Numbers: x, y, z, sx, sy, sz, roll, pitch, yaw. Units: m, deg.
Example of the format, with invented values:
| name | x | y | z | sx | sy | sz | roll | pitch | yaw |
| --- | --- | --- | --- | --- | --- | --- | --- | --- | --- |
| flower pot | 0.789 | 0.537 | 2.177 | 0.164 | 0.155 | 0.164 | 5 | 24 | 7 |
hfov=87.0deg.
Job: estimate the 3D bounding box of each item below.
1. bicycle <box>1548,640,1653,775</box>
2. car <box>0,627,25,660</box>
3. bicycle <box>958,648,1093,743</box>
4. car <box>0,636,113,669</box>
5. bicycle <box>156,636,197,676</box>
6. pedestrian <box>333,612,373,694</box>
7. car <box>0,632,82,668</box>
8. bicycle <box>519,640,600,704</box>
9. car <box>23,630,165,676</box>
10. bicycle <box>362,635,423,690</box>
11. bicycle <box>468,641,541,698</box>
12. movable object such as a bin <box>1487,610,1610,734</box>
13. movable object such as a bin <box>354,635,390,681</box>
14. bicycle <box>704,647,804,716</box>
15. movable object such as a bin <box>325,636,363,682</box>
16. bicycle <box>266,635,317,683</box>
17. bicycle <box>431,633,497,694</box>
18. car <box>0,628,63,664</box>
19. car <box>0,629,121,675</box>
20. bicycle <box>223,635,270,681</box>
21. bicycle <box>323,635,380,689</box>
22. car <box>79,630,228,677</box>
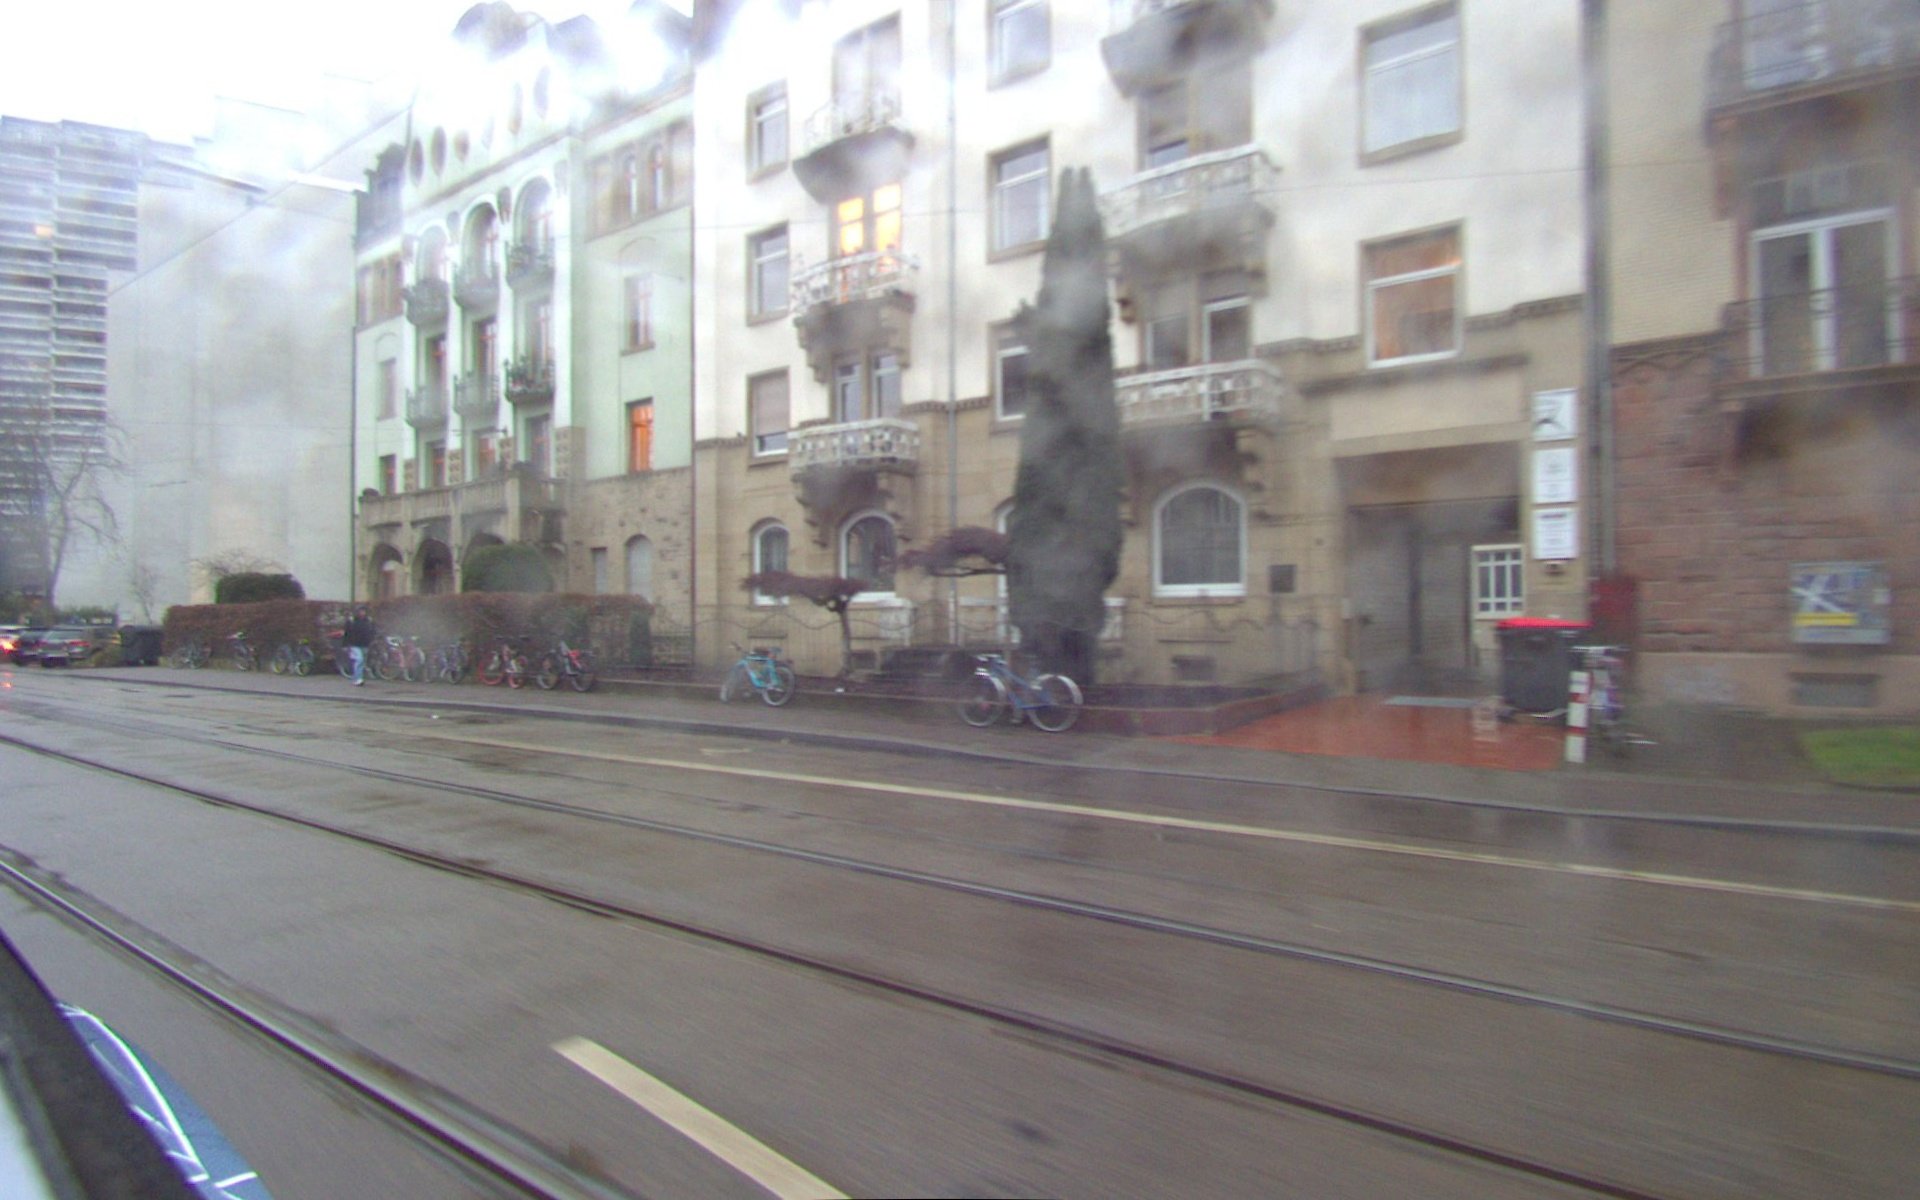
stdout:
| name | x | y | z | sx | sy | sz | roll | pitch | yaw |
| --- | --- | --- | --- | --- | --- | --- | --- | --- | --- |
| bicycle | 6.664 | 1.041 | 10.475 | 0.694 | 1.114 | 2.327 | -1 | 0 | 37 |
| car | -47.374 | 2.093 | 48.321 | 1.842 | 1.608 | 4.000 | -1 | -1 | -1 |
| bicycle | 0.807 | 1.172 | 12.785 | 1.660 | 1.101 | 0.617 | -2 | -2 | 39 |
| car | -36.254 | 2.062 | 40.511 | 1.687 | 1.262 | 3.667 | 0 | -2 | -2 |
| bicycle | -23.840 | 1.693 | 30.775 | 1.660 | 1.173 | 0.617 | -2 | -1 | 39 |
| pedestrian | -13.141 | 1.127 | 21.911 | 0.644 | 1.738 | 0.567 | 0 | 0 | 40 |
| car | -41.509 | 2.197 | 44.819 | 1.842 | 1.460 | 4.000 | -1 | -1 | -1 |
| bicycle | -7.509 | 1.317 | 18.941 | 1.781 | 1.134 | 0.617 | -2 | -2 | 39 |
| car | -31.102 | 1.864 | 36.514 | 1.739 | 1.497 | 4.000 | -1 | -1 | -1 |
| bicycle | -12.790 | 1.389 | 22.778 | 1.660 | 1.173 | 0.617 | -2 | -2 | 39 |
| bicycle | -9.113 | 1.375 | 20.233 | 1.724 | 1.073 | 0.617 | -2 | -2 | 39 |
| movable object such as a bin | 7.308 | 0.851 | 12.559 | 1.166 | 1.390 | 1.092 | -1 | 1 | 38 |
| movable object such as a bin | -15.460 | 1.510 | 26.613 | 0.674 | 1.173 | 0.617 | -2 | -2 | 39 |
| bicycle | -3.230 | 1.247 | 15.827 | 1.660 | 1.010 | 0.617 | -2 | -2 | 39 |
| movable object such as a bin | -15.864 | 1.506 | 26.058 | 0.674 | 1.173 | 0.651 | -2 | -2 | 39 |
| bicycle | -17.446 | 1.516 | 26.402 | 1.660 | 1.221 | 0.617 | -2 | -2 | 39 |
| bicycle | -10.472 | 1.318 | 21.345 | 1.660 | 1.221 | 0.617 | -2 | -2 | 39 |
| car | -44.501 | 2.116 | 47.222 | 1.842 | 1.608 | 4.000 | -1 | -1 | -1 |
| car | -33.994 | 1.901 | 37.922 | 1.842 | 1.608 | 4.000 | -1 | -1 | -1 |
| bicycle | -19.567 | 1.564 | 27.754 | 1.660 | 1.221 | 0.617 | -2 | -2 | 39 |
| bicycle | -14.458 | 1.450 | 24.034 | 1.660 | 1.221 | 0.617 | -2 | -2 | 39 |
| car | -28.536 | 1.854 | 35.965 | 1.847 | 1.505 | 3.991 | -1 | -1 | 7 |
